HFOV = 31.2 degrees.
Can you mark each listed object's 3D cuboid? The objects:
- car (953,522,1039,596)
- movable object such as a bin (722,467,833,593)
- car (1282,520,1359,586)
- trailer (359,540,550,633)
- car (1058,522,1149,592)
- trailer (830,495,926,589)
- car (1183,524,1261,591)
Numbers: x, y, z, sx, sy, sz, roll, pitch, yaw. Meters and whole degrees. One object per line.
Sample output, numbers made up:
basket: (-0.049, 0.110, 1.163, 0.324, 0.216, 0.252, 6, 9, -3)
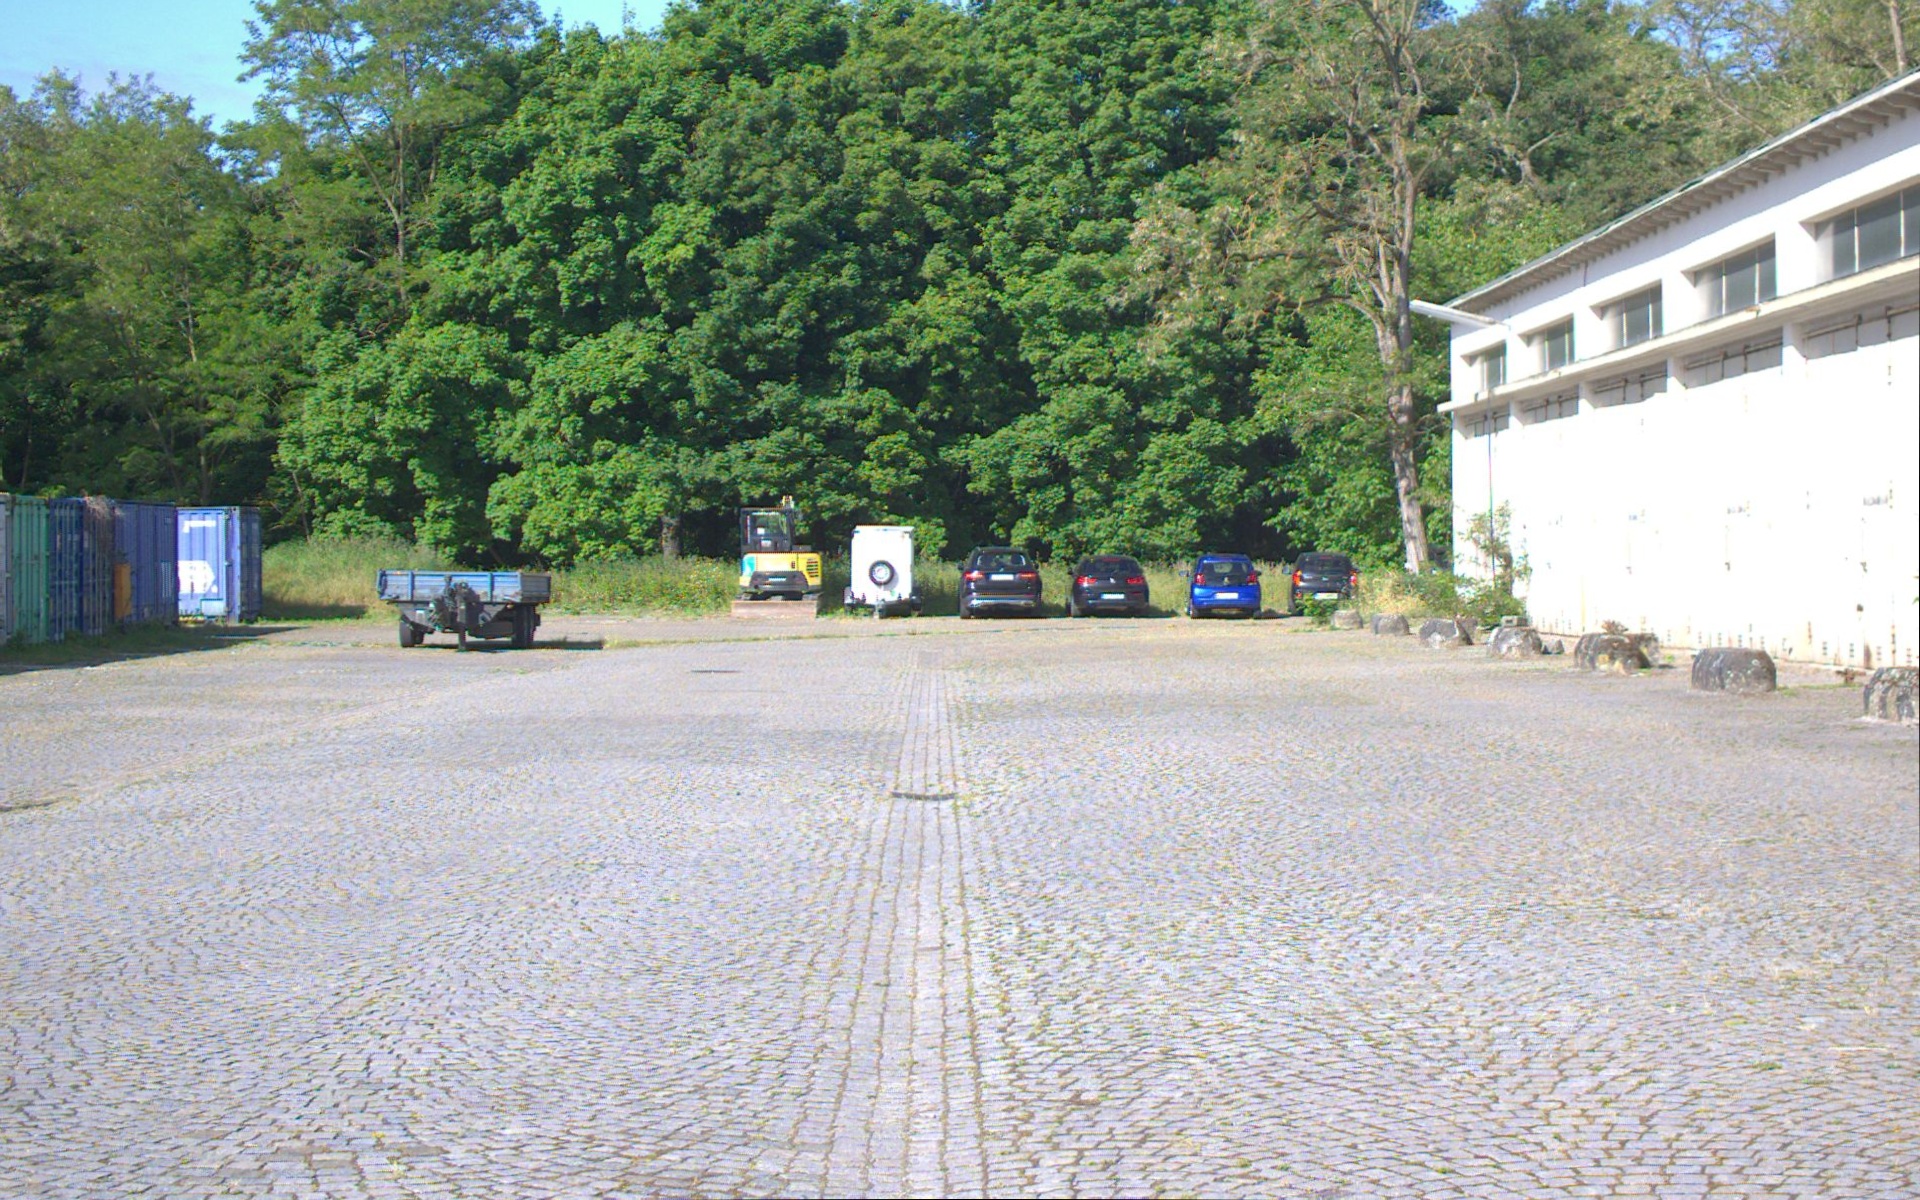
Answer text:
car: (0.808, -0.964, 79.195, 1.863, 1.583, 4.296, 0, 2, -1)
movable object such as a bin: (-4.319, -1.720, 82.144, 2.306, 2.886, 5.752, 0, 2, 0)
car: (8.505, -1.130, 80.917, 1.744, 1.431, 4.182, 0, 2, 6)
trailer: (-8.950, -0.285, 61.476, 2.705, 1.460, 6.248, 0, 2, -2)
car: (3.296, -1.016, 79.564, 1.863, 1.465, 4.296, 0, 2, -1)
trailer: (-1.926, -1.411, 81.560, 2.193, 2.087, 5.752, 0, 2, -1)
car: (6.065, -0.999, 79.508, 1.744, 1.431, 4.183, 0, 2, 5)
